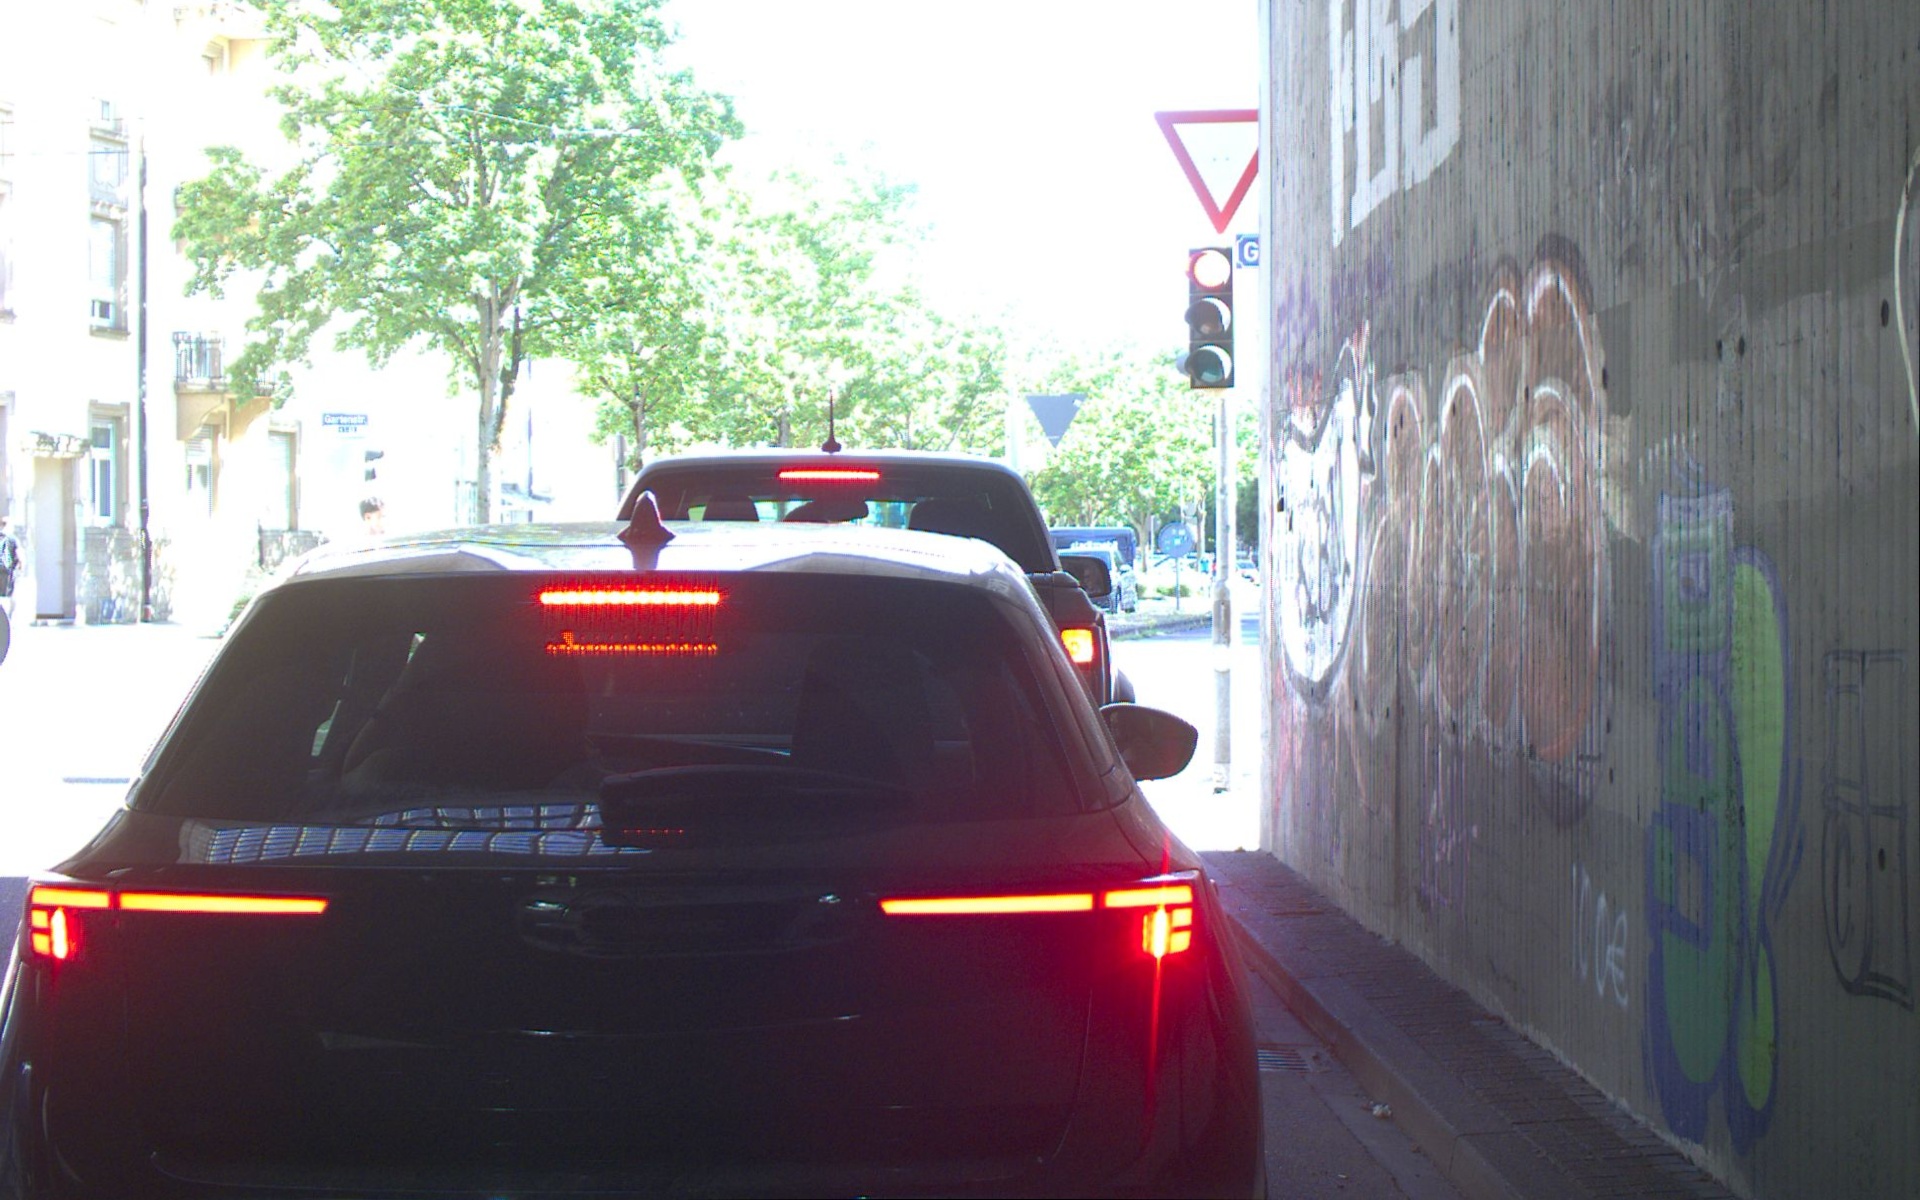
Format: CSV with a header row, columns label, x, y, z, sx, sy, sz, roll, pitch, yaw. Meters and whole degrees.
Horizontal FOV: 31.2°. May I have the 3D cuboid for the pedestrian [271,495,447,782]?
label,x,y,z,sx,sy,sz,roll,pitch,yaw
pedestrian,-3.762,0.232,21.576,0.929,1.756,0.794,1,0,1

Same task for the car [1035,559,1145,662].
label,x,y,z,sx,sy,sz,roll,pitch,yaw
car,2.623,0.178,68.419,1.994,1.963,4.163,1,1,5

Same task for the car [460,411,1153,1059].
label,x,y,z,sx,sy,sz,roll,pitch,yaw
car,-0.466,0.352,11.967,1.993,1.865,4.000,0,1,-1

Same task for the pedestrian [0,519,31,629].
label,x,y,z,sx,sy,sz,roll,pitch,yaw
pedestrian,-14.379,-0.390,51.591,0.672,1.632,0.740,1,0,-1

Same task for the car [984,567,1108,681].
label,x,y,z,sx,sy,sz,roll,pitch,yaw
car,1.595,0.395,62.315,1.994,1.963,4.163,1,1,5

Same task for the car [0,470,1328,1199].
label,x,y,z,sx,sy,sz,roll,pitch,yaw
car,-0.482,0.567,6.069,1.764,1.566,4.001,1,2,-1

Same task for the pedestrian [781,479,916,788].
label,x,y,z,sx,sy,sz,roll,pitch,yaw
pedestrian,-0.633,0.184,19.784,0.731,1.728,0.874,1,0,-1
